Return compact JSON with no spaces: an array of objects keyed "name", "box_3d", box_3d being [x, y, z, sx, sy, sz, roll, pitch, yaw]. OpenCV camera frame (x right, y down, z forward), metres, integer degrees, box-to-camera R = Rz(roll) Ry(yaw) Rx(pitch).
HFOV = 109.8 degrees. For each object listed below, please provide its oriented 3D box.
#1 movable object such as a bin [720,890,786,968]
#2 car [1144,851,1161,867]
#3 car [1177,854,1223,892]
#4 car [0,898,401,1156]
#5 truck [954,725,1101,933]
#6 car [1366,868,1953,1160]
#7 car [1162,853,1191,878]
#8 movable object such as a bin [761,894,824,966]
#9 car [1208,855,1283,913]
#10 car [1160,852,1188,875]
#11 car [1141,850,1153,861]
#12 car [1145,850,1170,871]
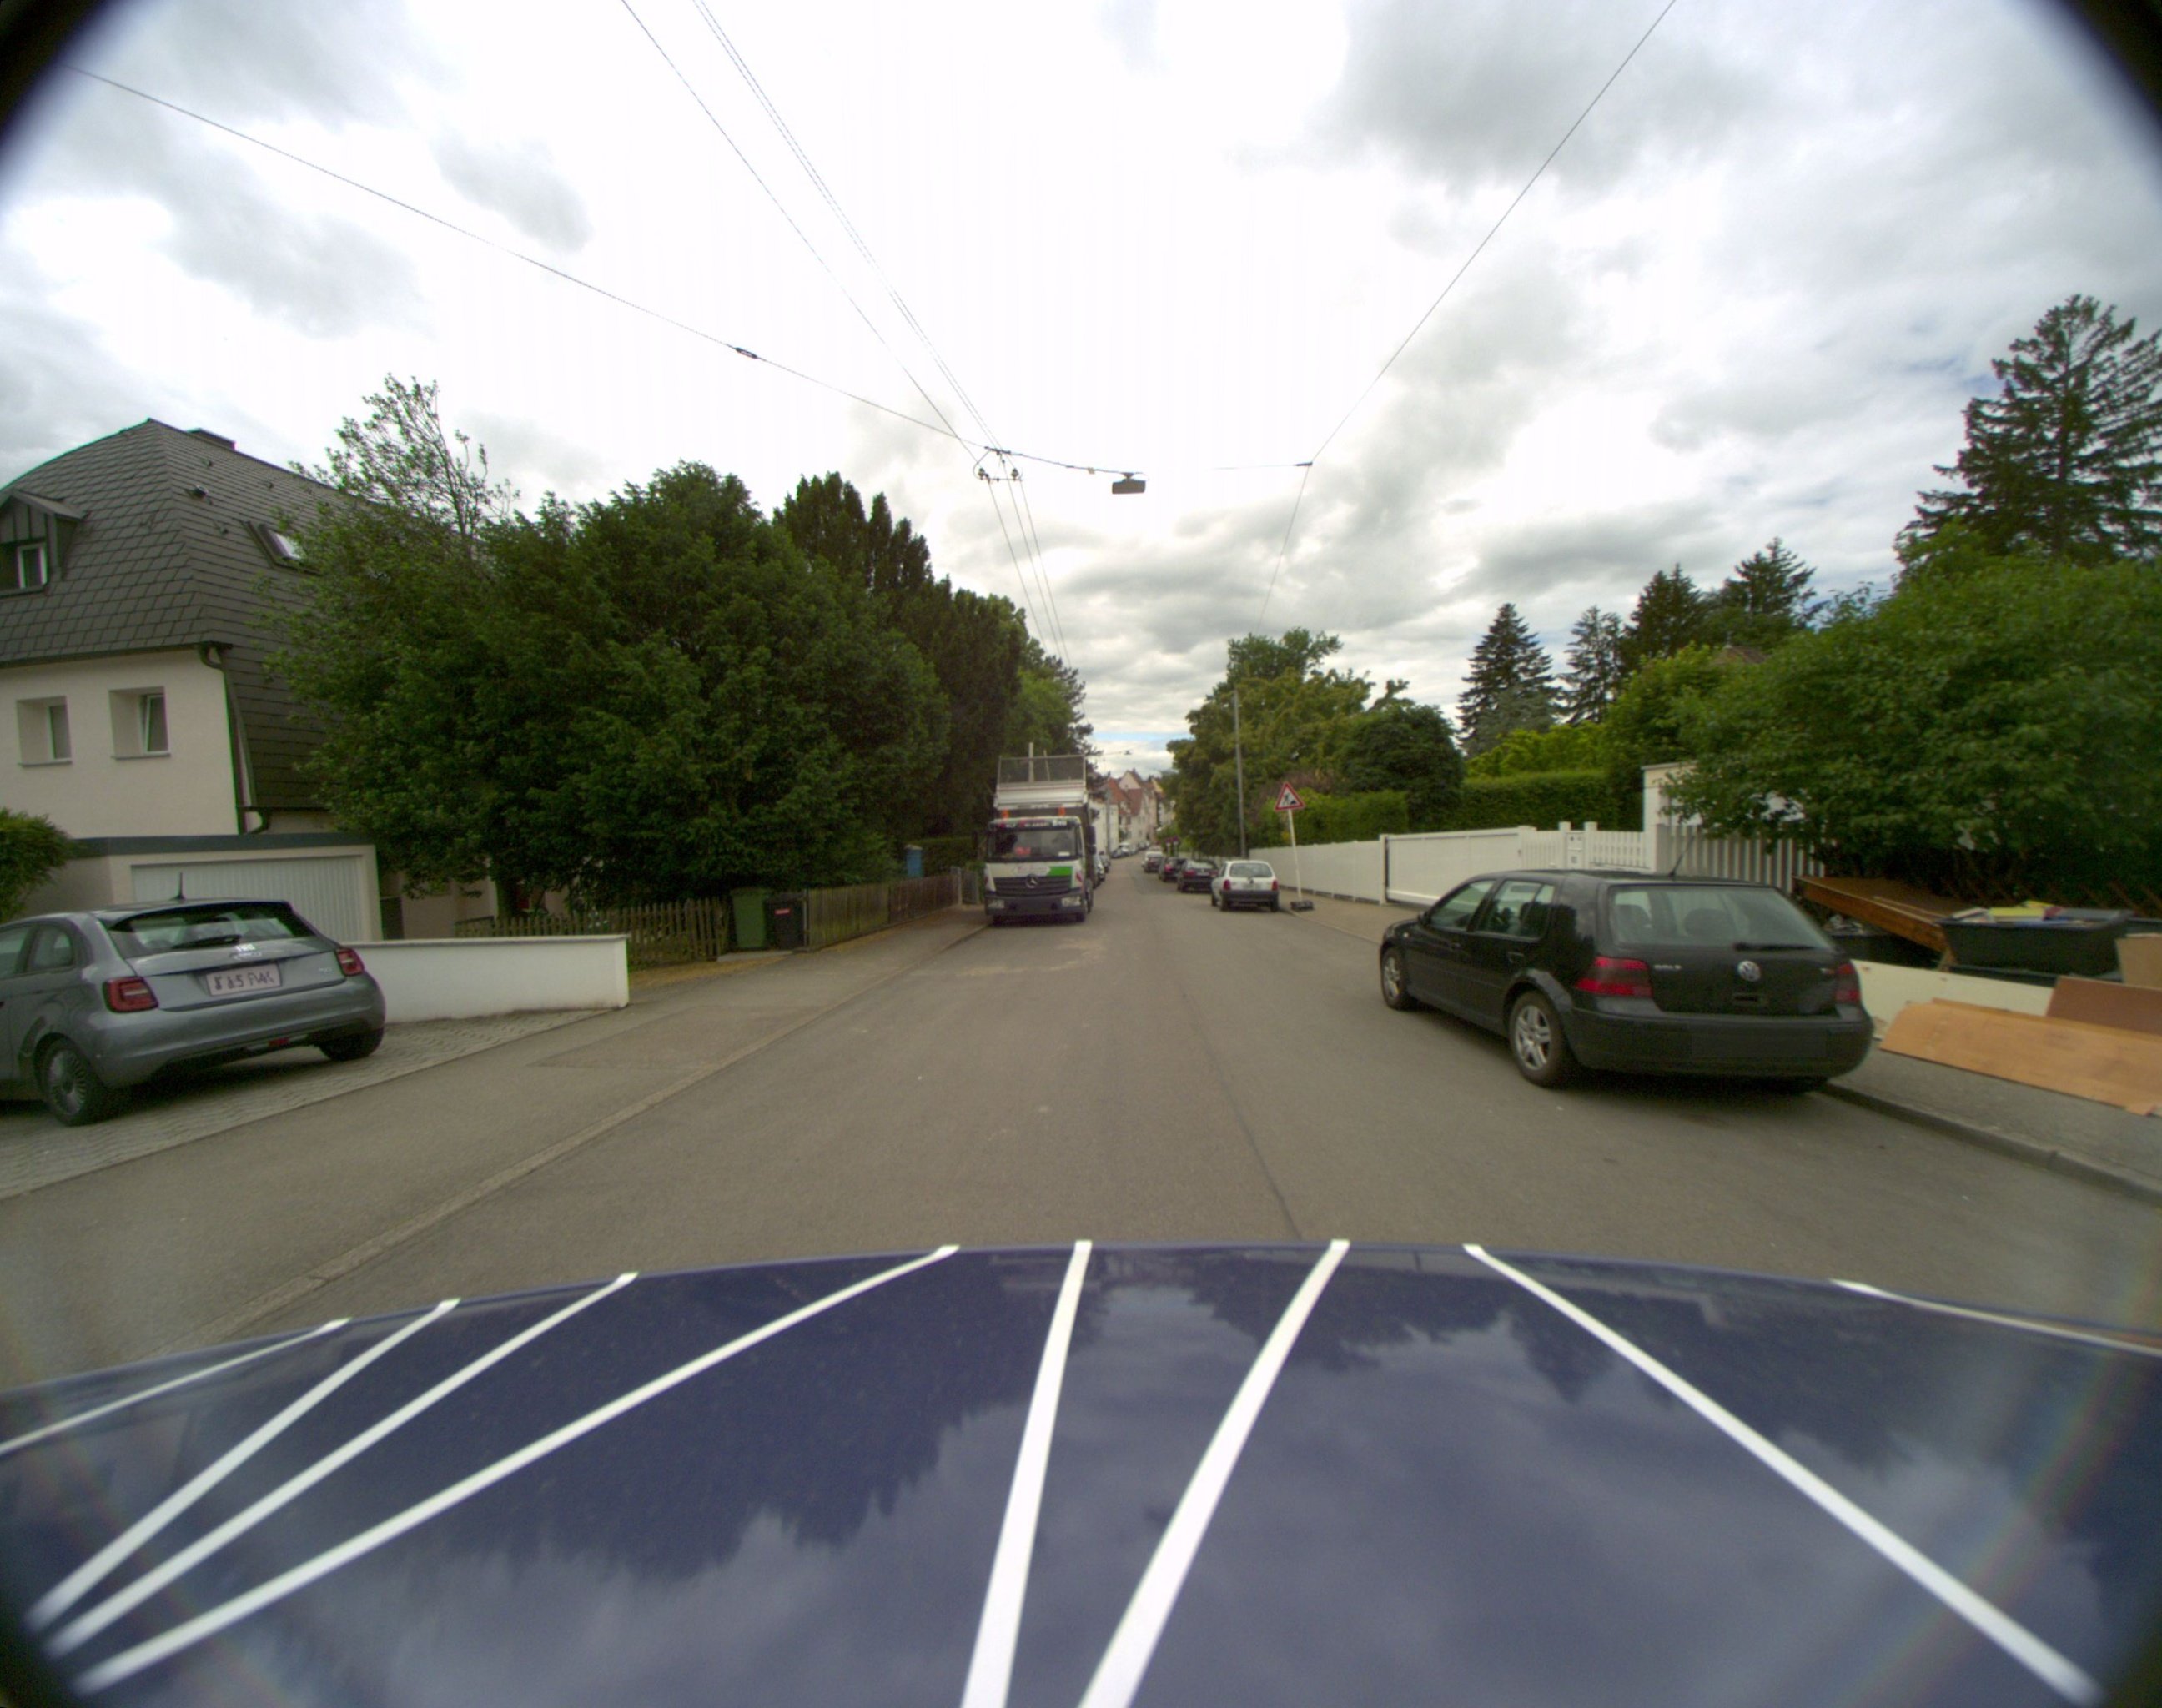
[{"name":"movable object such as a bin","box_3d":[-5.477,1.233,12.734,0.599,1.200,0.952,-5,-2,1]},{"name":"car","box_3d":[7.029,0.483,74.778,1.620,1.460,3.313,1,1,4]},{"name":"car","box_3d":[4.997,0.755,32.360,1.620,1.460,3.313,1,1,4]},{"name":"car","box_3d":[-7.862,1.328,6.114,3.852,1.488,1.694,-6,0,17]},{"name":"truck","box_3d":[-1.082,-0.577,20.771,3.152,4.525,7.953,-1,1,1]},{"name":"car","box_3d":[3.776,0.885,5.941,1.758,1.435,3.802,0,0,2]},{"name":"car","box_3d":[5.773,0.688,46.226,1.538,1.460,3.314,1,-1,4]},{"name":"movable object such as a bin","box_3d":[-4.825,1.259,12.746,0.599,1.098,0.952,-5,-2,1]},{"name":"car","box_3d":[4.688,0.808,22.027,1.620,1.460,3.313,1,1,4]},{"name":"car","box_3d":[6.201,0.619,50.975,1.620,1.460,3.313,1,1,4]},{"name":"car","box_3d":[8.204,0.214,94.822,1.423,1.277,3.313,1,1,4]},{"name":"car","box_3d":[6.862,0.584,68.494,1.887,1.746,3.703,-2,1,1]}]
